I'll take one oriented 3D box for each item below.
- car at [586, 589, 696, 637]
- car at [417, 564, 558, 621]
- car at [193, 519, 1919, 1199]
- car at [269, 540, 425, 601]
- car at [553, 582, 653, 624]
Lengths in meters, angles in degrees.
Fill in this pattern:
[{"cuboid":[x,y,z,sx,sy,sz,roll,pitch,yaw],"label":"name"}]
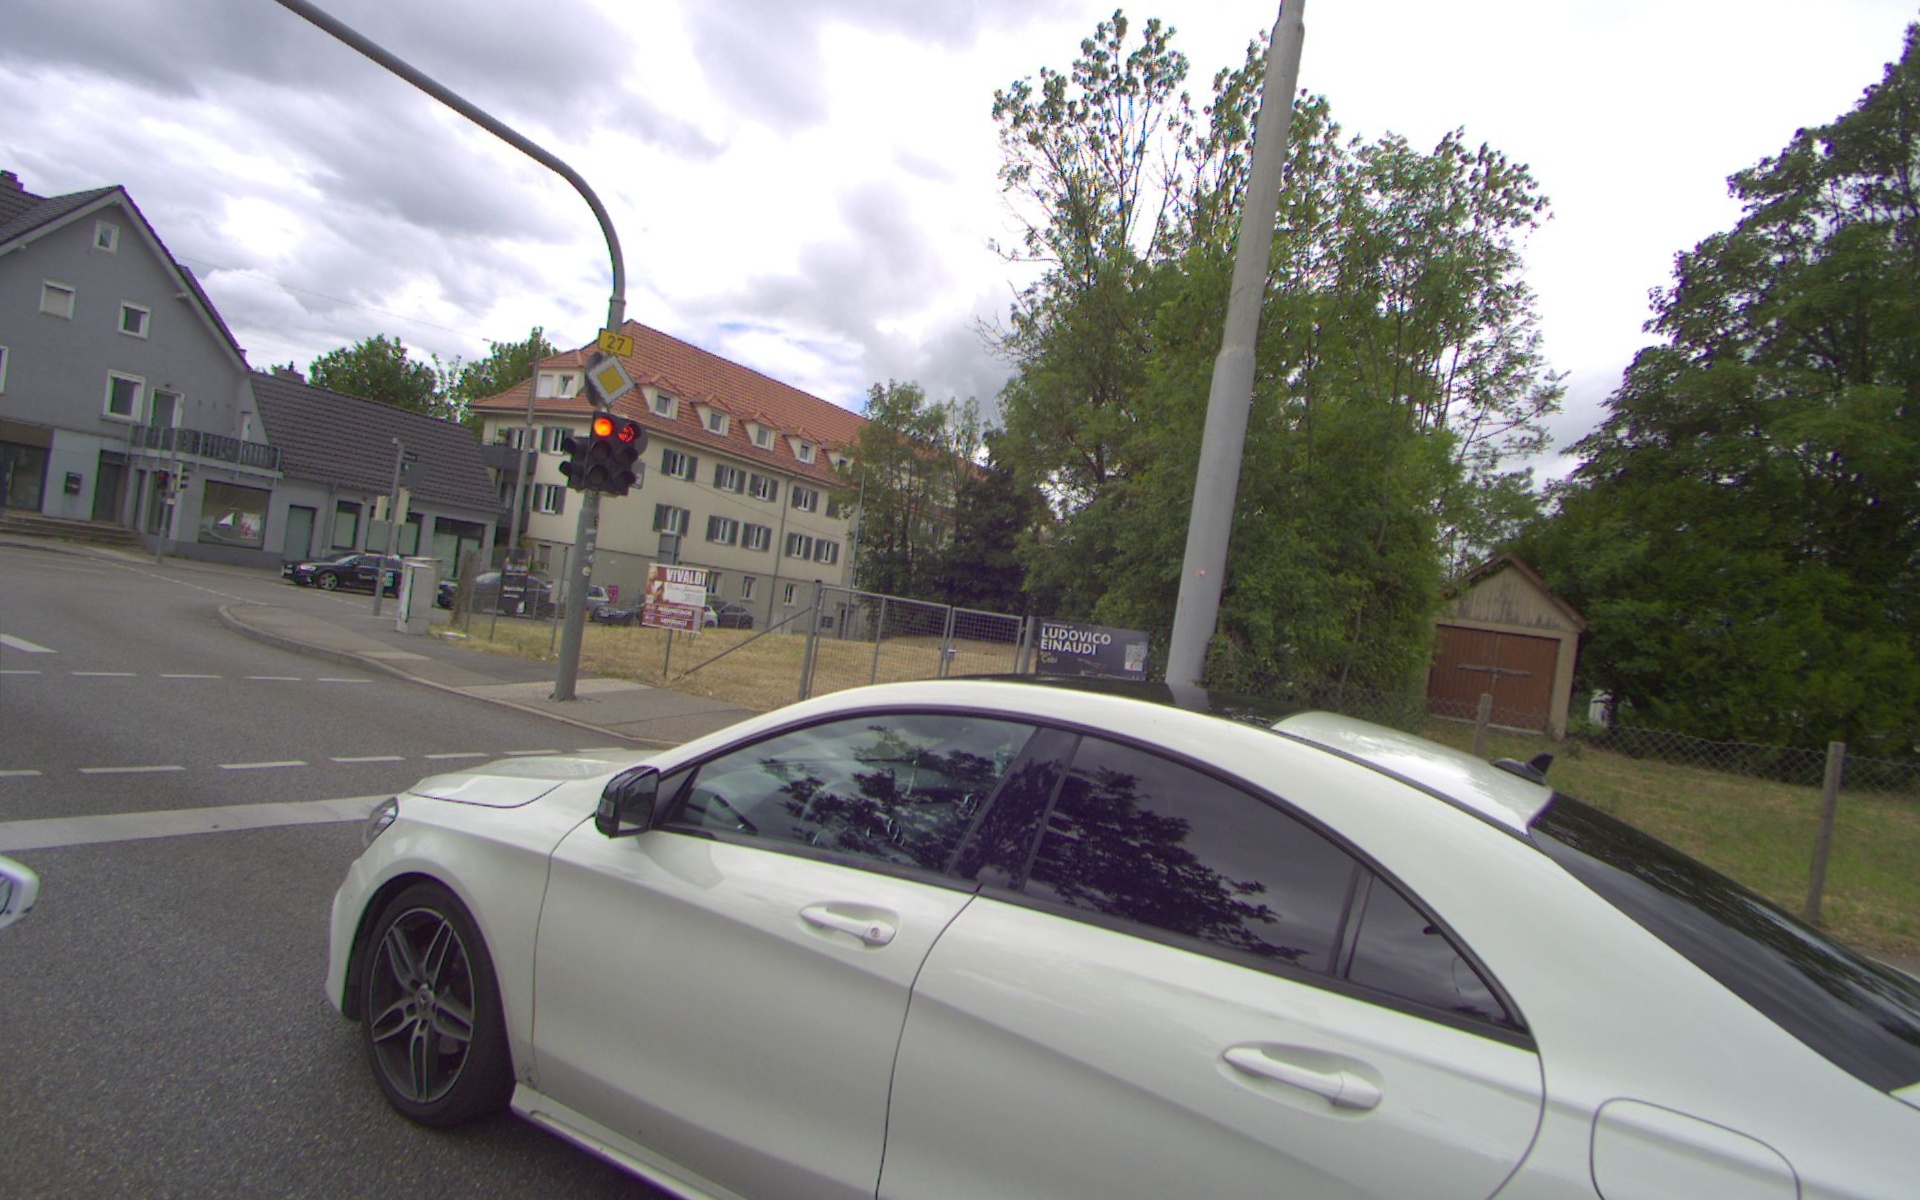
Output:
[{"cuboid":[-13.179,0.570,41.818,1.769,1.386,4.099,7,-3,30],"label":"car"},{"cuboid":[-16.559,-0.222,35.465,1.769,1.386,4.099,7,-3,30],"label":"car"},{"cuboid":[0.097,0.853,2.832,4.693,1.522,1.872,8,-2,31],"label":"car"},{"cuboid":[-20.885,-0.965,34.455,1.769,1.386,4.099,7,-3,30],"label":"car"},{"cuboid":[-16.588,0.170,46.941,1.769,1.386,4.099,7,-3,30],"label":"car"}]
